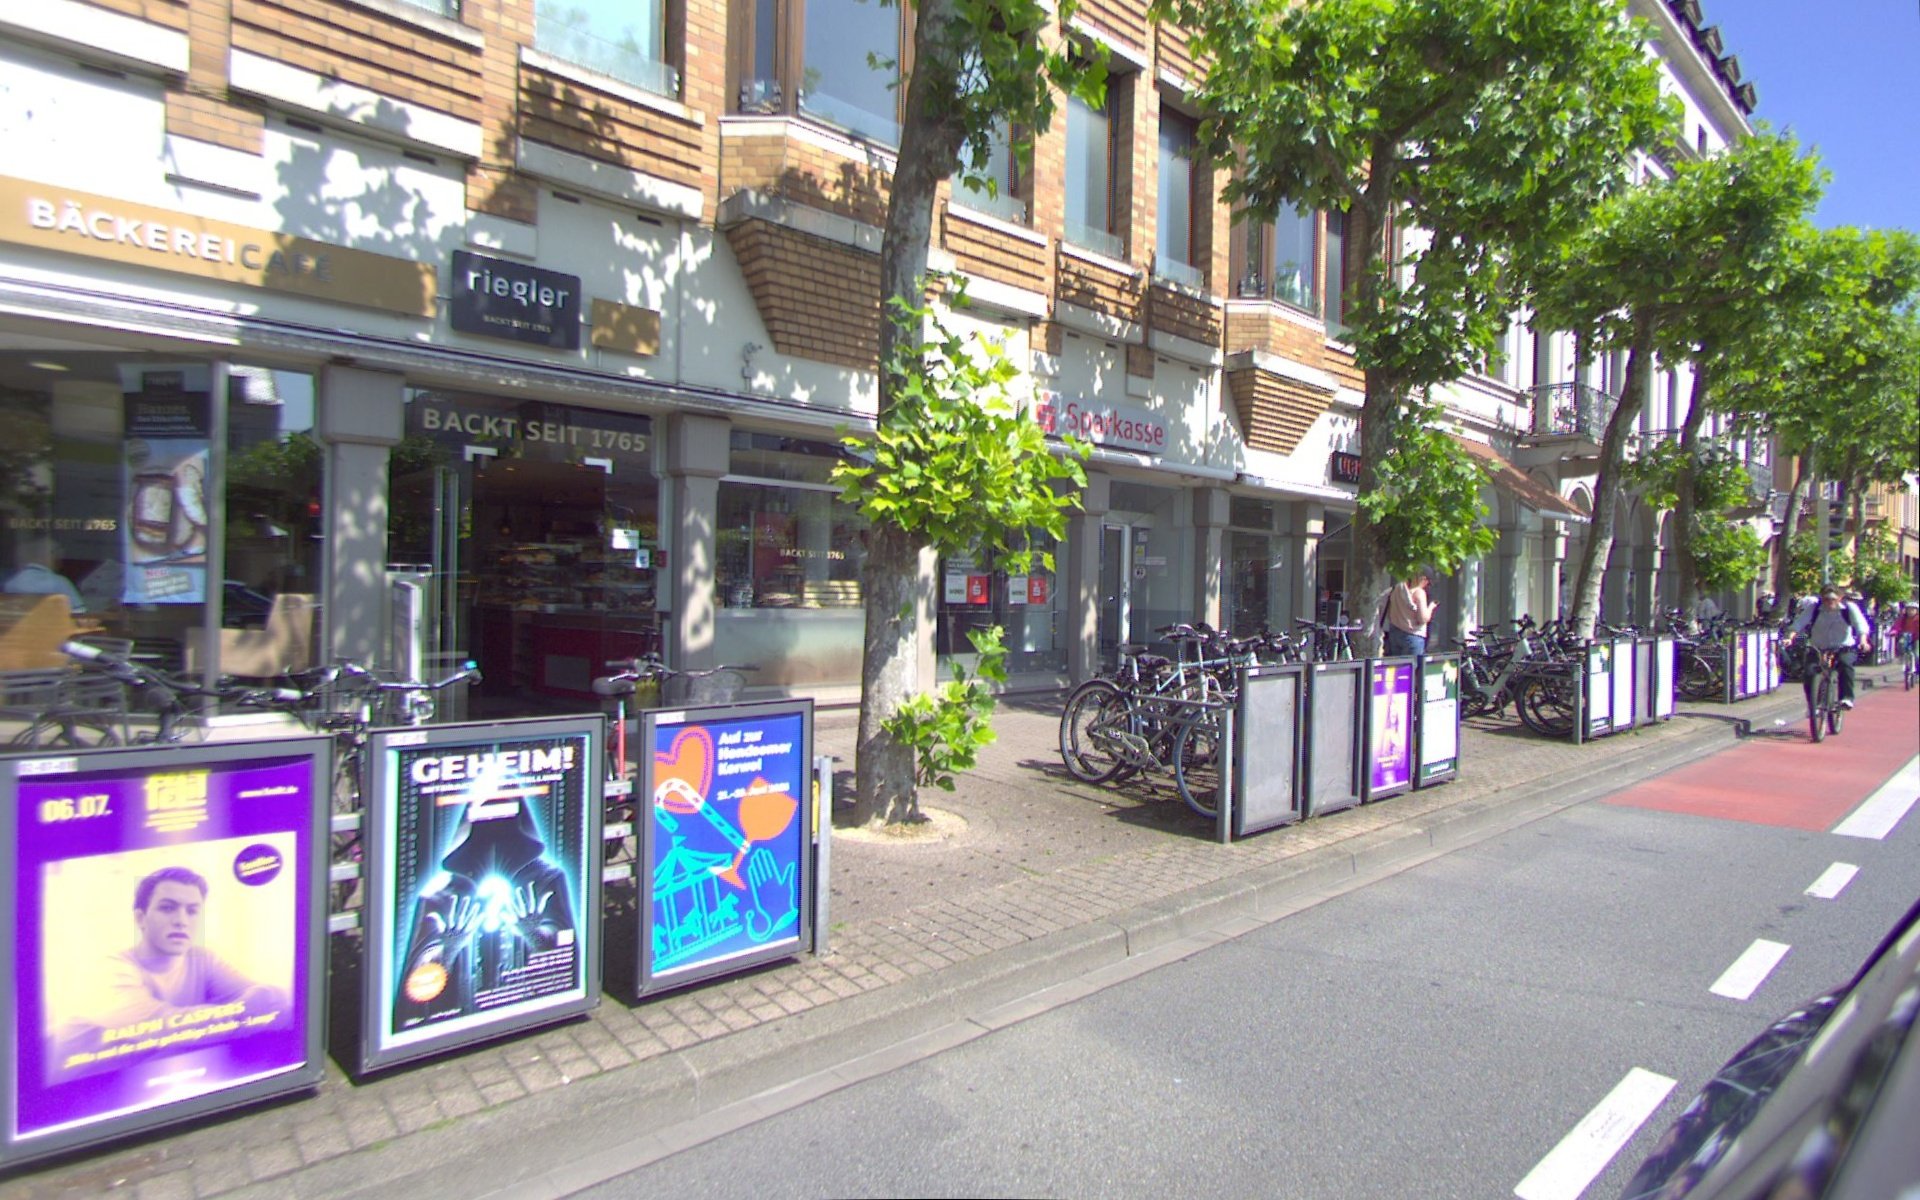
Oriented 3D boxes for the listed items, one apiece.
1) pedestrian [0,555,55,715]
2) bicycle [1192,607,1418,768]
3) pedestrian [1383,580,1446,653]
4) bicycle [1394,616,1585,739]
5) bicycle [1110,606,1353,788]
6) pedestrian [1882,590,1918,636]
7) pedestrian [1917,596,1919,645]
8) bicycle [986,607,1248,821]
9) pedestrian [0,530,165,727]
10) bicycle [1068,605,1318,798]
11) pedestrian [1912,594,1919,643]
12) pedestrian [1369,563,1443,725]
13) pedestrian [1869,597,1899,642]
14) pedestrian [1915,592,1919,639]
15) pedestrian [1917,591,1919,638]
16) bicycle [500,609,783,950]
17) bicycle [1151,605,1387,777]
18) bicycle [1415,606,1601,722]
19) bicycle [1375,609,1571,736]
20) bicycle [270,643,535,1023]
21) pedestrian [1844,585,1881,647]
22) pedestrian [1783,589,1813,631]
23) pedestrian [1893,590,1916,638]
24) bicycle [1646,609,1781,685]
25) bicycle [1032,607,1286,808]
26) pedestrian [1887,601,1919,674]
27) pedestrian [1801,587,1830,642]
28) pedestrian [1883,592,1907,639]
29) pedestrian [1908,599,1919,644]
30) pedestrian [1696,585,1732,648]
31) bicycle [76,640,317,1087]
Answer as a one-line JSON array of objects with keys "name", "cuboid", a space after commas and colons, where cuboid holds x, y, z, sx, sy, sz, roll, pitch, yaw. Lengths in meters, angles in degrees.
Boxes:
[{"name": "pedestrian", "cuboid": [-7.914, 0.280, 8.320, 0.628, 1.271, 0.793, 0, -1, -37]}, {"name": "bicycle", "cuboid": [2.794, 0.659, 8.356, 0.474, 1.161, 1.755, 1, 0, -42]}, {"name": "pedestrian", "cuboid": [8.357, 0.301, 18.626, 0.850, 1.323, 0.654, 0, -1, 1]}, {"name": "bicycle", "cuboid": [5.634, 0.780, 10.859, 0.474, 1.161, 1.755, 1, 0, -42]}, {"name": "bicycle", "cuboid": [1.956, 0.648, 7.511, 0.474, 1.161, 1.755, 1, 0, -42]}, {"name": "pedestrian", "cuboid": [38.460, 0.526, 41.401, 0.838, 1.869, 0.623, 0, -1, -2]}, {"name": "pedestrian", "cuboid": [33.320, 0.695, 34.609, 0.567, 1.706, 0.622, 0, -1, -3]}, {"name": "bicycle", "cuboid": [0.952, 0.650, 6.526, 0.474, 1.161, 1.755, 1, 0, -42]}, {"name": "pedestrian", "cuboid": [-6.091, 0.185, 6.945, 0.628, 1.271, 0.793, 0, -1, 2]}, {"name": "bicycle", "cuboid": [1.588, 0.640, 7.161, 0.474, 1.161, 1.755, 1, 1, -42]}, {"name": "pedestrian", "cuboid": [33.922, 0.644, 35.607, 0.762, 1.706, 0.577, 1, -1, -44]}, {"name": "pedestrian", "cuboid": [4.760, 0.452, 10.785, 0.649, 1.654, 0.723, -1, -1, 29]}, {"name": "pedestrian", "cuboid": [32.787, 0.684, 35.916, 0.571, 1.604, 0.518, 0, -1, -1]}, {"name": "pedestrian", "cuboid": [37.730, 0.610, 39.506, 0.685, 1.825, 0.577, 1, -1, -44]}, {"name": "pedestrian", "cuboid": [38.564, 0.576, 40.225, 0.612, 1.882, 0.685, 1, -1, -44]}, {"name": "bicycle", "cuboid": [-1.454, 0.643, 4.397, 0.474, 1.161, 1.755, 1, 0, -42]}, {"name": "bicycle", "cuboid": [2.347, 0.643, 7.874, 0.474, 1.161, 1.755, 1, 0, -42]}, {"name": "bicycle", "cuboid": [6.035, 0.665, 11.229, 0.474, 1.161, 1.755, 1, 0, -42]}, {"name": "bicycle", "cuboid": [5.271, 0.702, 10.492, 0.474, 1.161, 1.755, 1, 0, -42]}, {"name": "bicycle", "cuboid": [-2.169, 0.728, 3.822, 0.474, 1.031, 1.755, 1, 0, -42]}, {"name": "pedestrian", "cuboid": [22.811, 0.400, 25.574, 0.655, 1.558, 0.605, 1, -1, -42]}, {"name": "pedestrian", "cuboid": [33.690, 0.408, 40.691, 0.611, 1.668, 0.797, 1, -1, -40]}, {"name": "pedestrian", "cuboid": [34.841, 0.509, 37.332, 0.612, 1.746, 0.577, 1, -1, -44]}, {"name": "bicycle", "cuboid": [12.663, 0.762, 17.052, 0.474, 1.161, 1.755, 1, 0, -42]}, {"name": "bicycle", "cuboid": [1.289, 0.650, 6.876, 0.474, 1.161, 1.755, 1, 0, -42]}, {"name": "pedestrian", "cuboid": [25.489, 0.985, 27.236, 0.763, 1.927, 0.701, 1, -1, -43]}, {"name": "pedestrian", "cuboid": [28.524, 0.484, 33.735, 0.763, 1.816, 0.634, 1, -1, -43]}, {"name": "pedestrian", "cuboid": [33.883, 0.558, 36.663, 0.612, 1.706, 0.577, 1, -1, -44]}, {"name": "pedestrian", "cuboid": [34.367, 0.755, 36.225, 0.612, 1.604, 0.577, 1, -1, -44]}, {"name": "pedestrian", "cuboid": [21.038, 0.458, 28.239, 0.664, 1.718, 0.658, 1, -1, -39]}, {"name": "bicycle", "cuboid": [-2.596, 0.697, 3.364, 0.474, 1.031, 1.755, 1, 0, -42]}]
